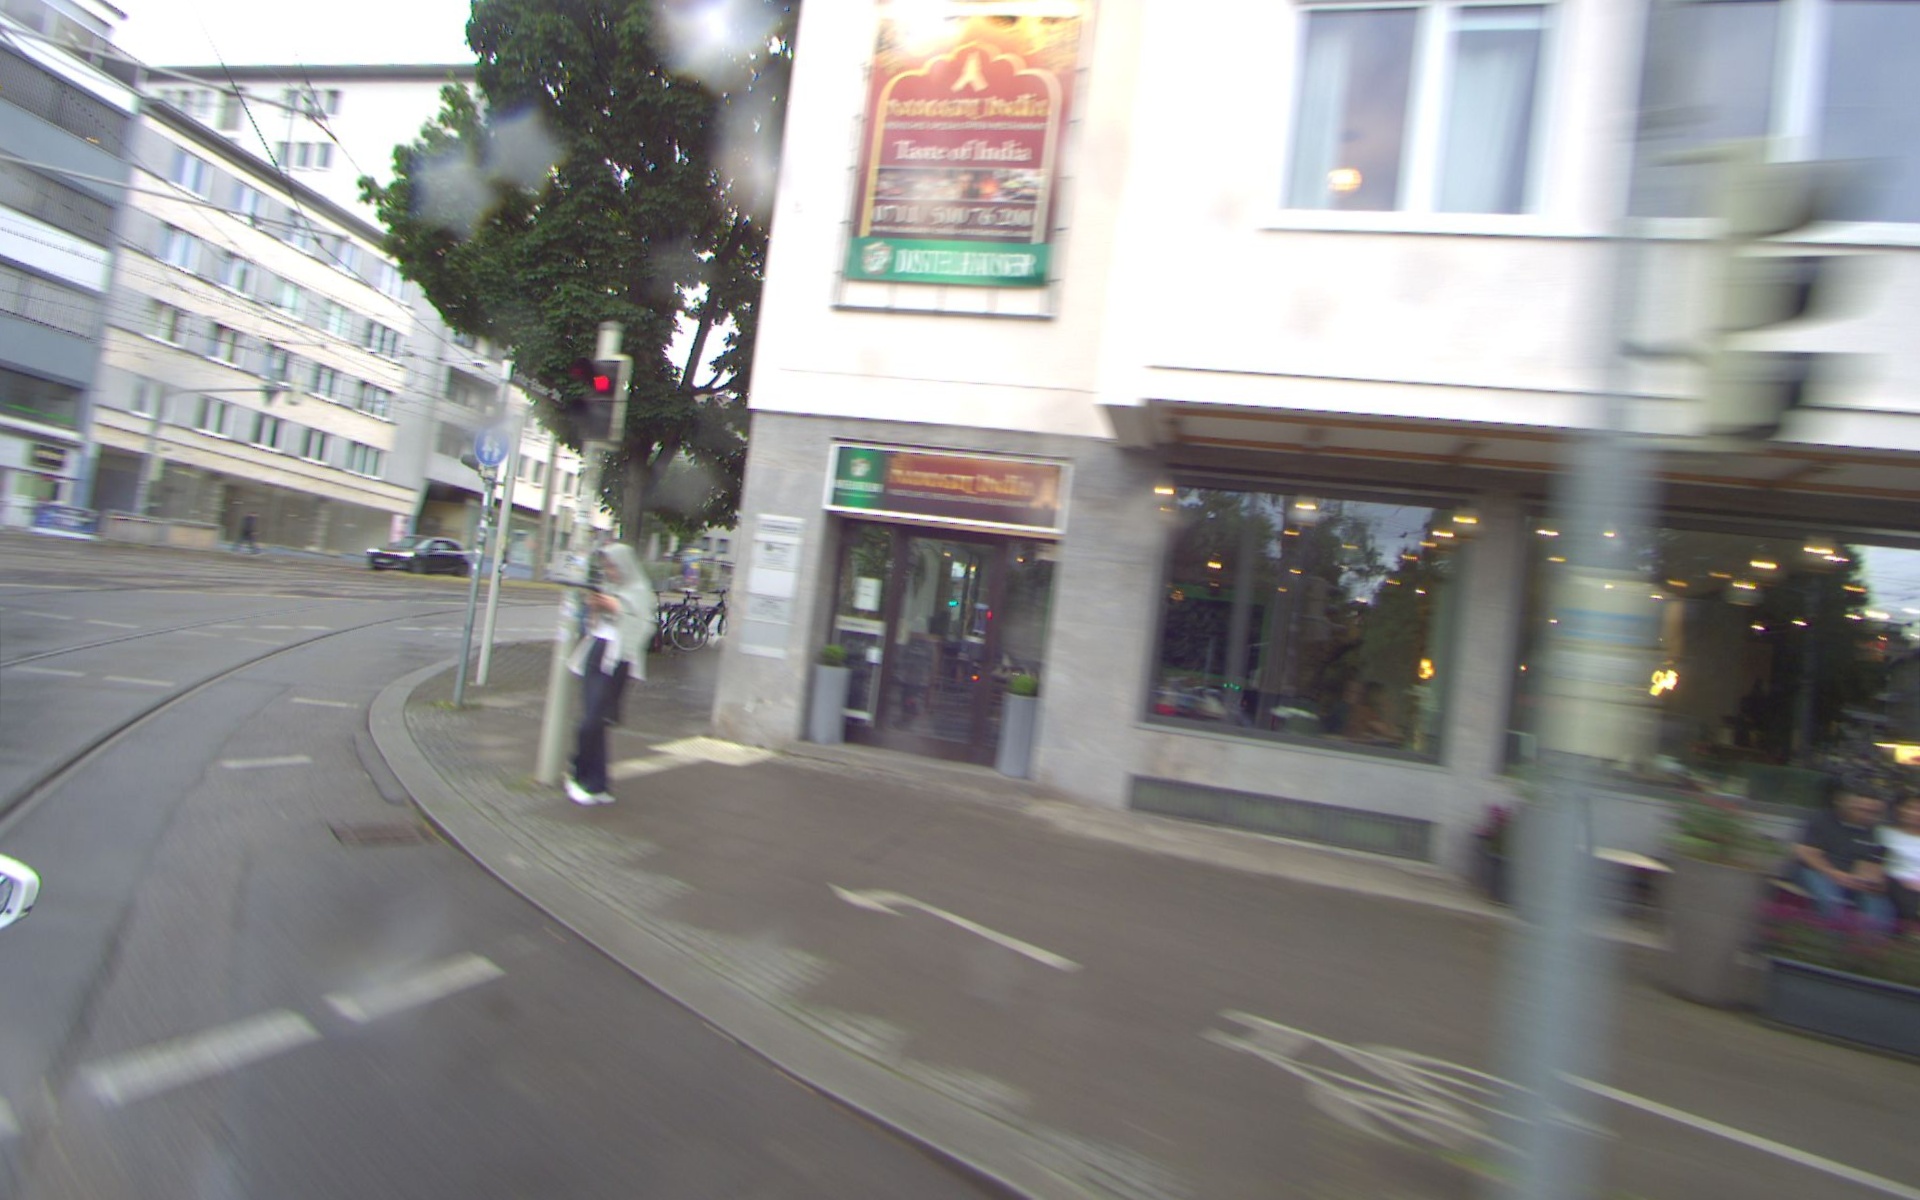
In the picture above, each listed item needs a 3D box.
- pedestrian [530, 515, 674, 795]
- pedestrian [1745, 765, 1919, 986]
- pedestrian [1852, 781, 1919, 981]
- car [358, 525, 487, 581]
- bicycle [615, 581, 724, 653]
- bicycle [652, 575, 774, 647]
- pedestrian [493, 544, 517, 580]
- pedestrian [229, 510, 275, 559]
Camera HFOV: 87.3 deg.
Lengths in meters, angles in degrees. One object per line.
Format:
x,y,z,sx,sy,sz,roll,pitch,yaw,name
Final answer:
-2.361,0.348,6.611,0.524,1.733,0.699,7,0,-37,pedestrian
5.991,1.817,6.822,0.623,1.206,0.933,7,0,15,pedestrian
6.590,1.900,6.663,0.557,1.206,0.919,7,0,15,pedestrian
-21.178,-1.806,39.879,1.962,1.694,4.529,6,0,12,car
-5.435,0.312,18.816,1.788,1.106,0.649,7,2,15,bicycle
-5.079,0.223,20.684,2.279,1.188,0.650,7,0,15,bicycle
-23.977,-1.999,53.043,0.587,1.760,0.910,6,1,10,pedestrian
-27.195,-2.507,38.646,0.873,1.702,0.999,6,1,12,pedestrian
